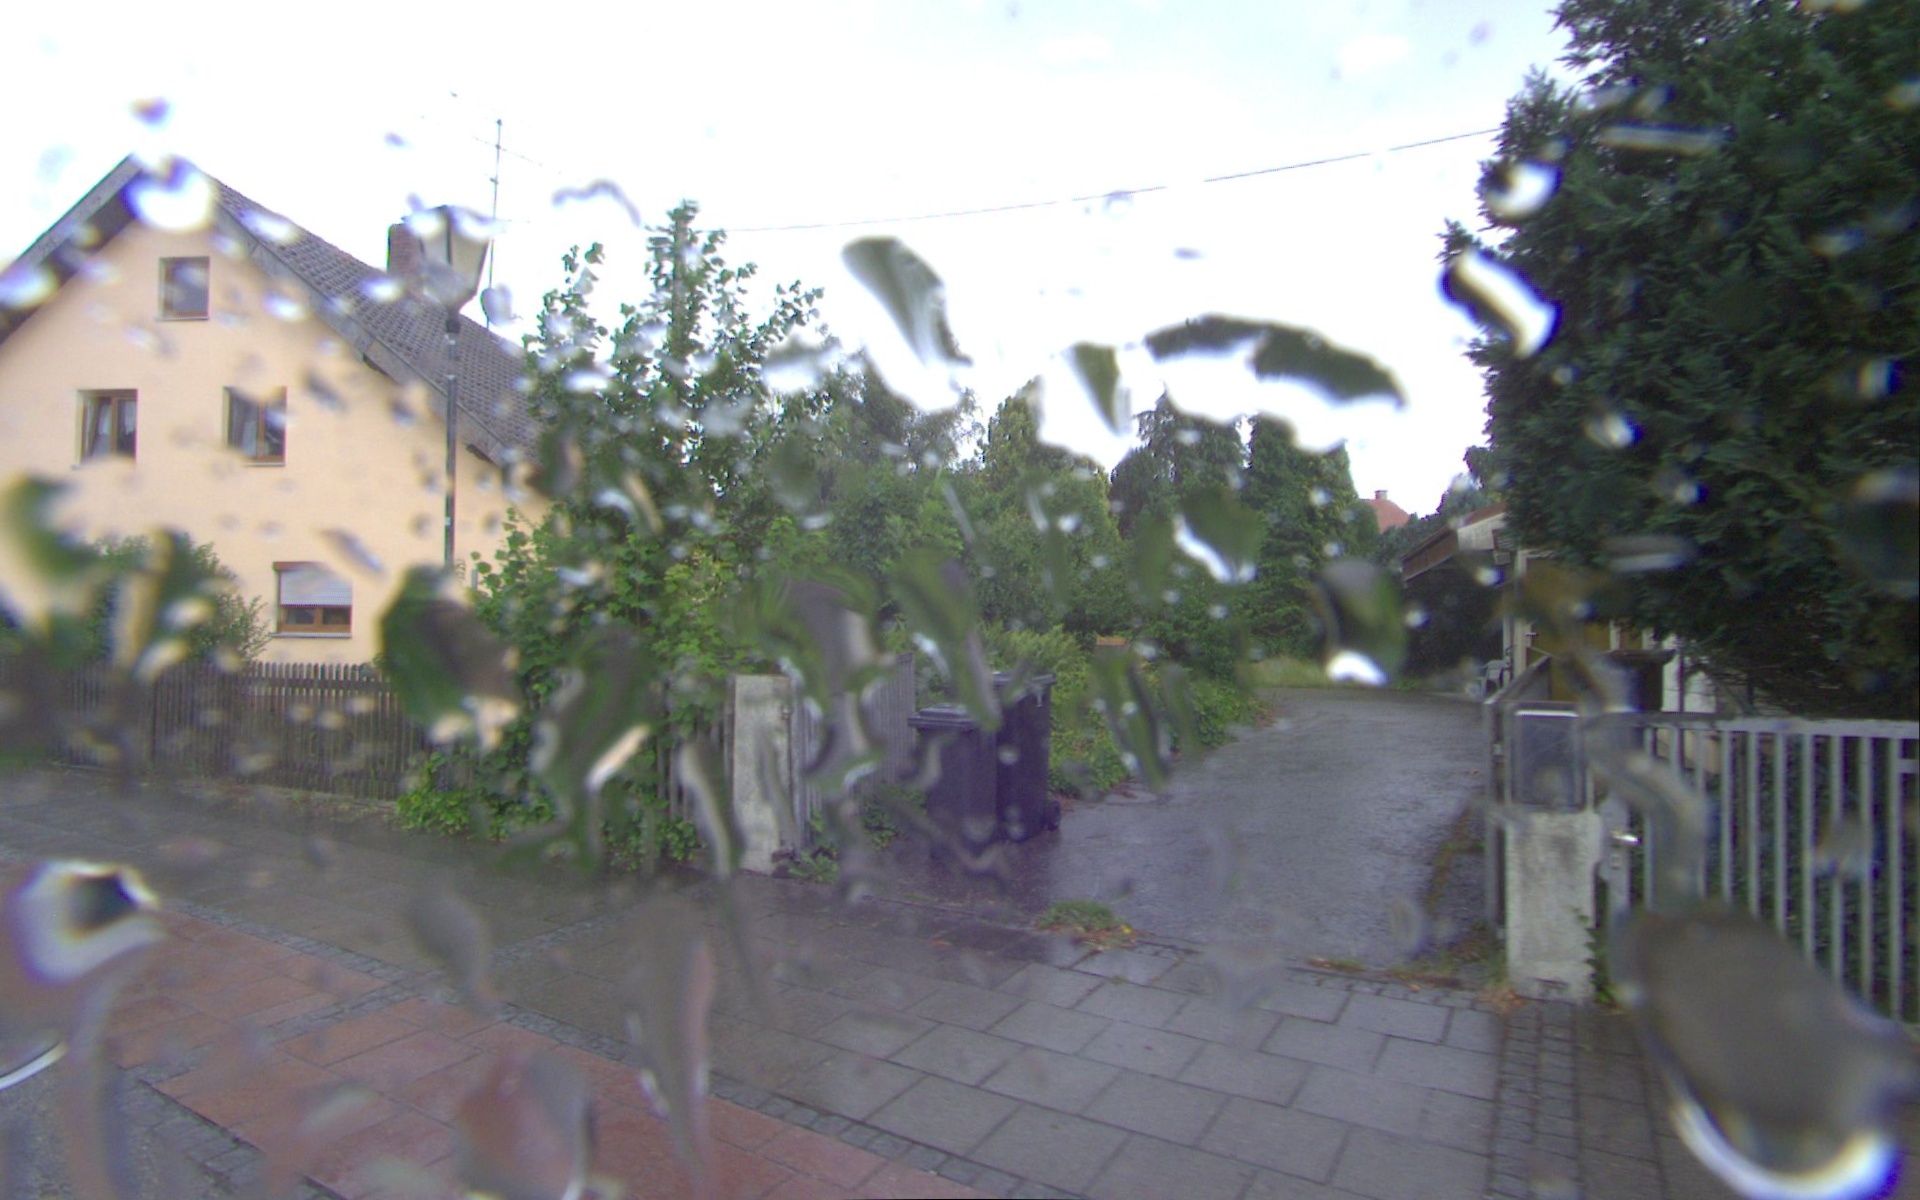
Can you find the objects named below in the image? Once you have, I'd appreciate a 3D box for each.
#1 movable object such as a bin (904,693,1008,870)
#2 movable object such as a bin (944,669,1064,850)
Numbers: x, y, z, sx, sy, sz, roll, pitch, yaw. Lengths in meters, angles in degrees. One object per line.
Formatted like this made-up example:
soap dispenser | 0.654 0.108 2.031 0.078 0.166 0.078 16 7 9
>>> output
movable object such as a bin | -0.018 1.055 5.959 0.440 0.948 0.432 -1 1 33
movable object such as a bin | 0.292 0.998 6.485 0.545 1.054 0.574 -1 1 33
